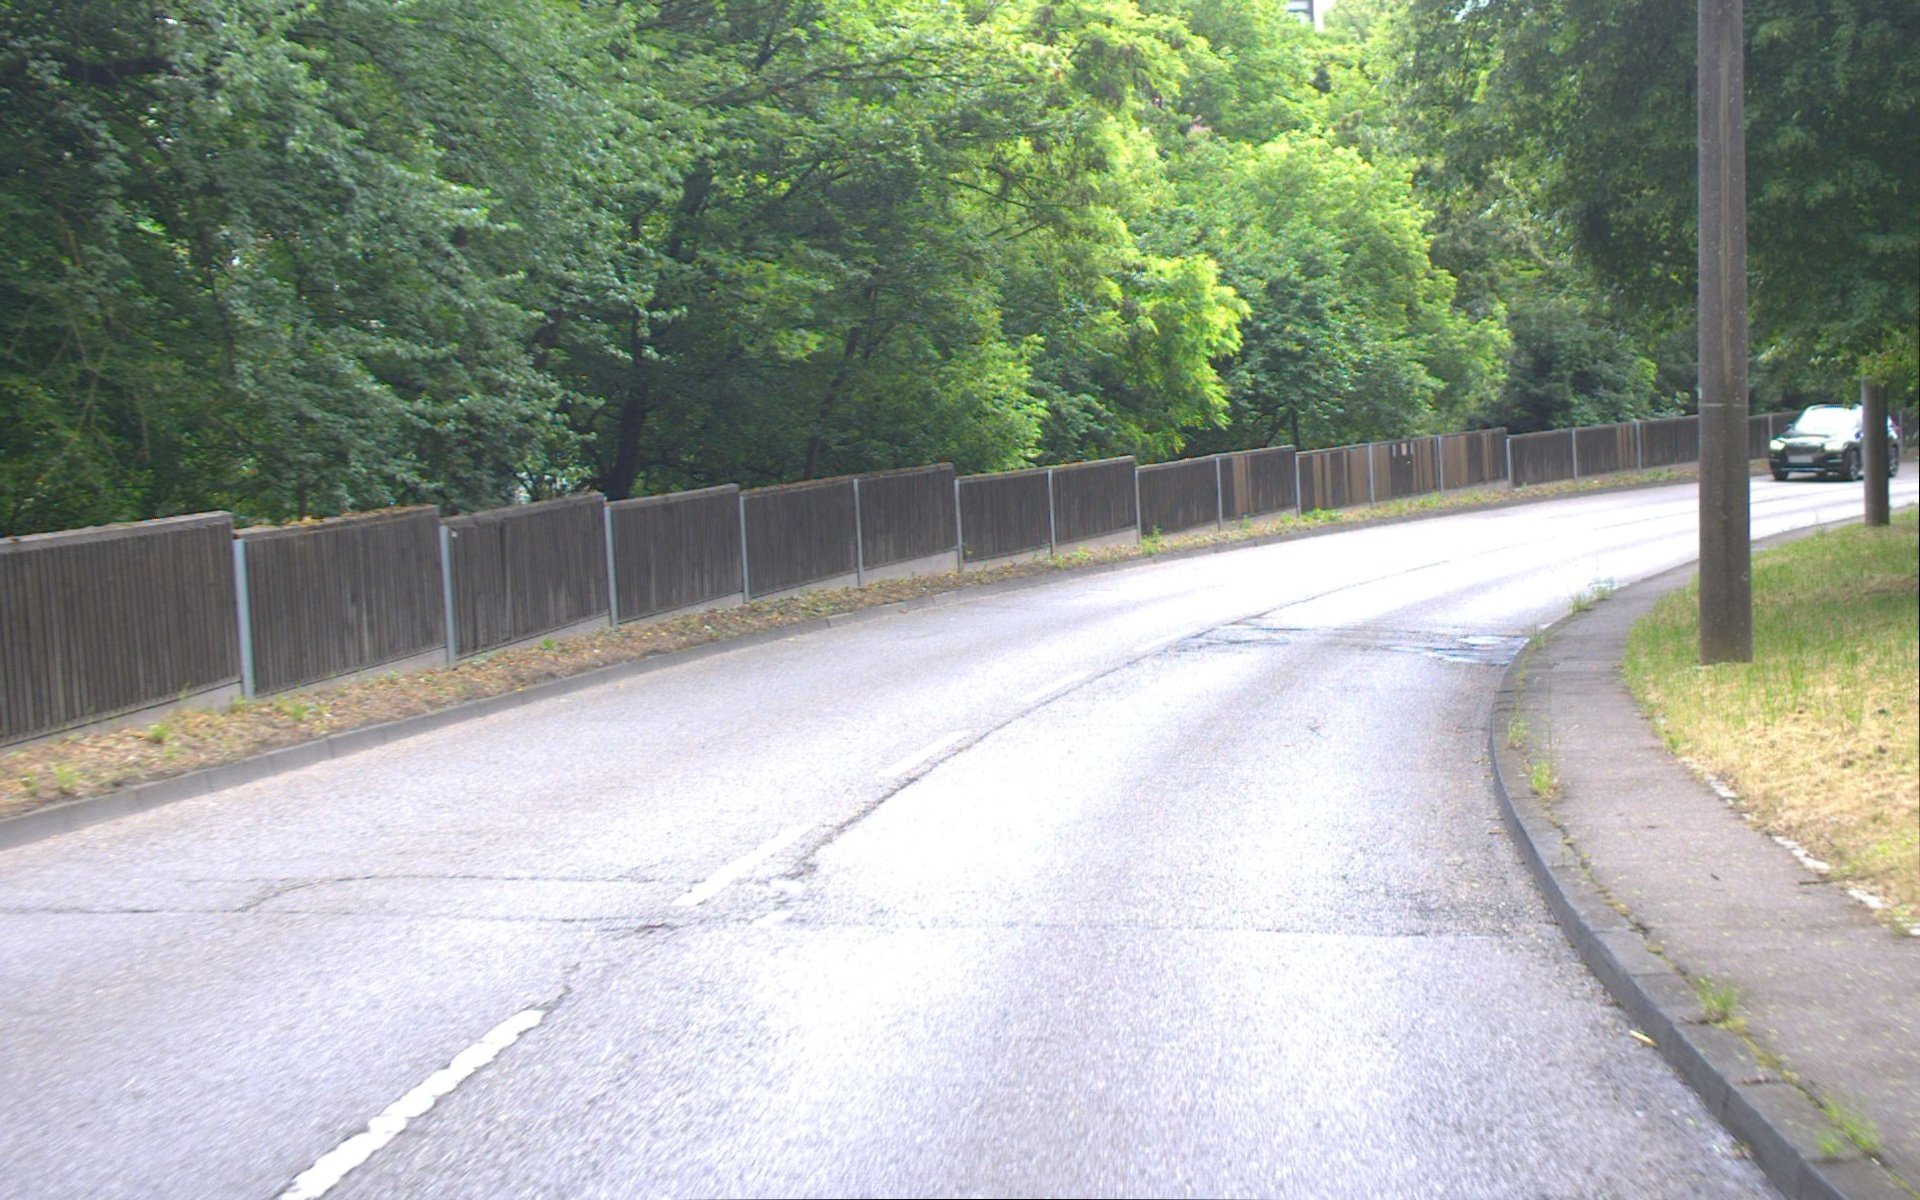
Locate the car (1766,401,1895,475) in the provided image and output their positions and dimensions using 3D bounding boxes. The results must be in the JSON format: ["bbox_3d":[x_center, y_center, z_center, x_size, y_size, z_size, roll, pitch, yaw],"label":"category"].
[{"bbox_3d":[19.270,-3.600,75.998,1.848,1.559,4.227,2,4,27],"label":"car"}]
